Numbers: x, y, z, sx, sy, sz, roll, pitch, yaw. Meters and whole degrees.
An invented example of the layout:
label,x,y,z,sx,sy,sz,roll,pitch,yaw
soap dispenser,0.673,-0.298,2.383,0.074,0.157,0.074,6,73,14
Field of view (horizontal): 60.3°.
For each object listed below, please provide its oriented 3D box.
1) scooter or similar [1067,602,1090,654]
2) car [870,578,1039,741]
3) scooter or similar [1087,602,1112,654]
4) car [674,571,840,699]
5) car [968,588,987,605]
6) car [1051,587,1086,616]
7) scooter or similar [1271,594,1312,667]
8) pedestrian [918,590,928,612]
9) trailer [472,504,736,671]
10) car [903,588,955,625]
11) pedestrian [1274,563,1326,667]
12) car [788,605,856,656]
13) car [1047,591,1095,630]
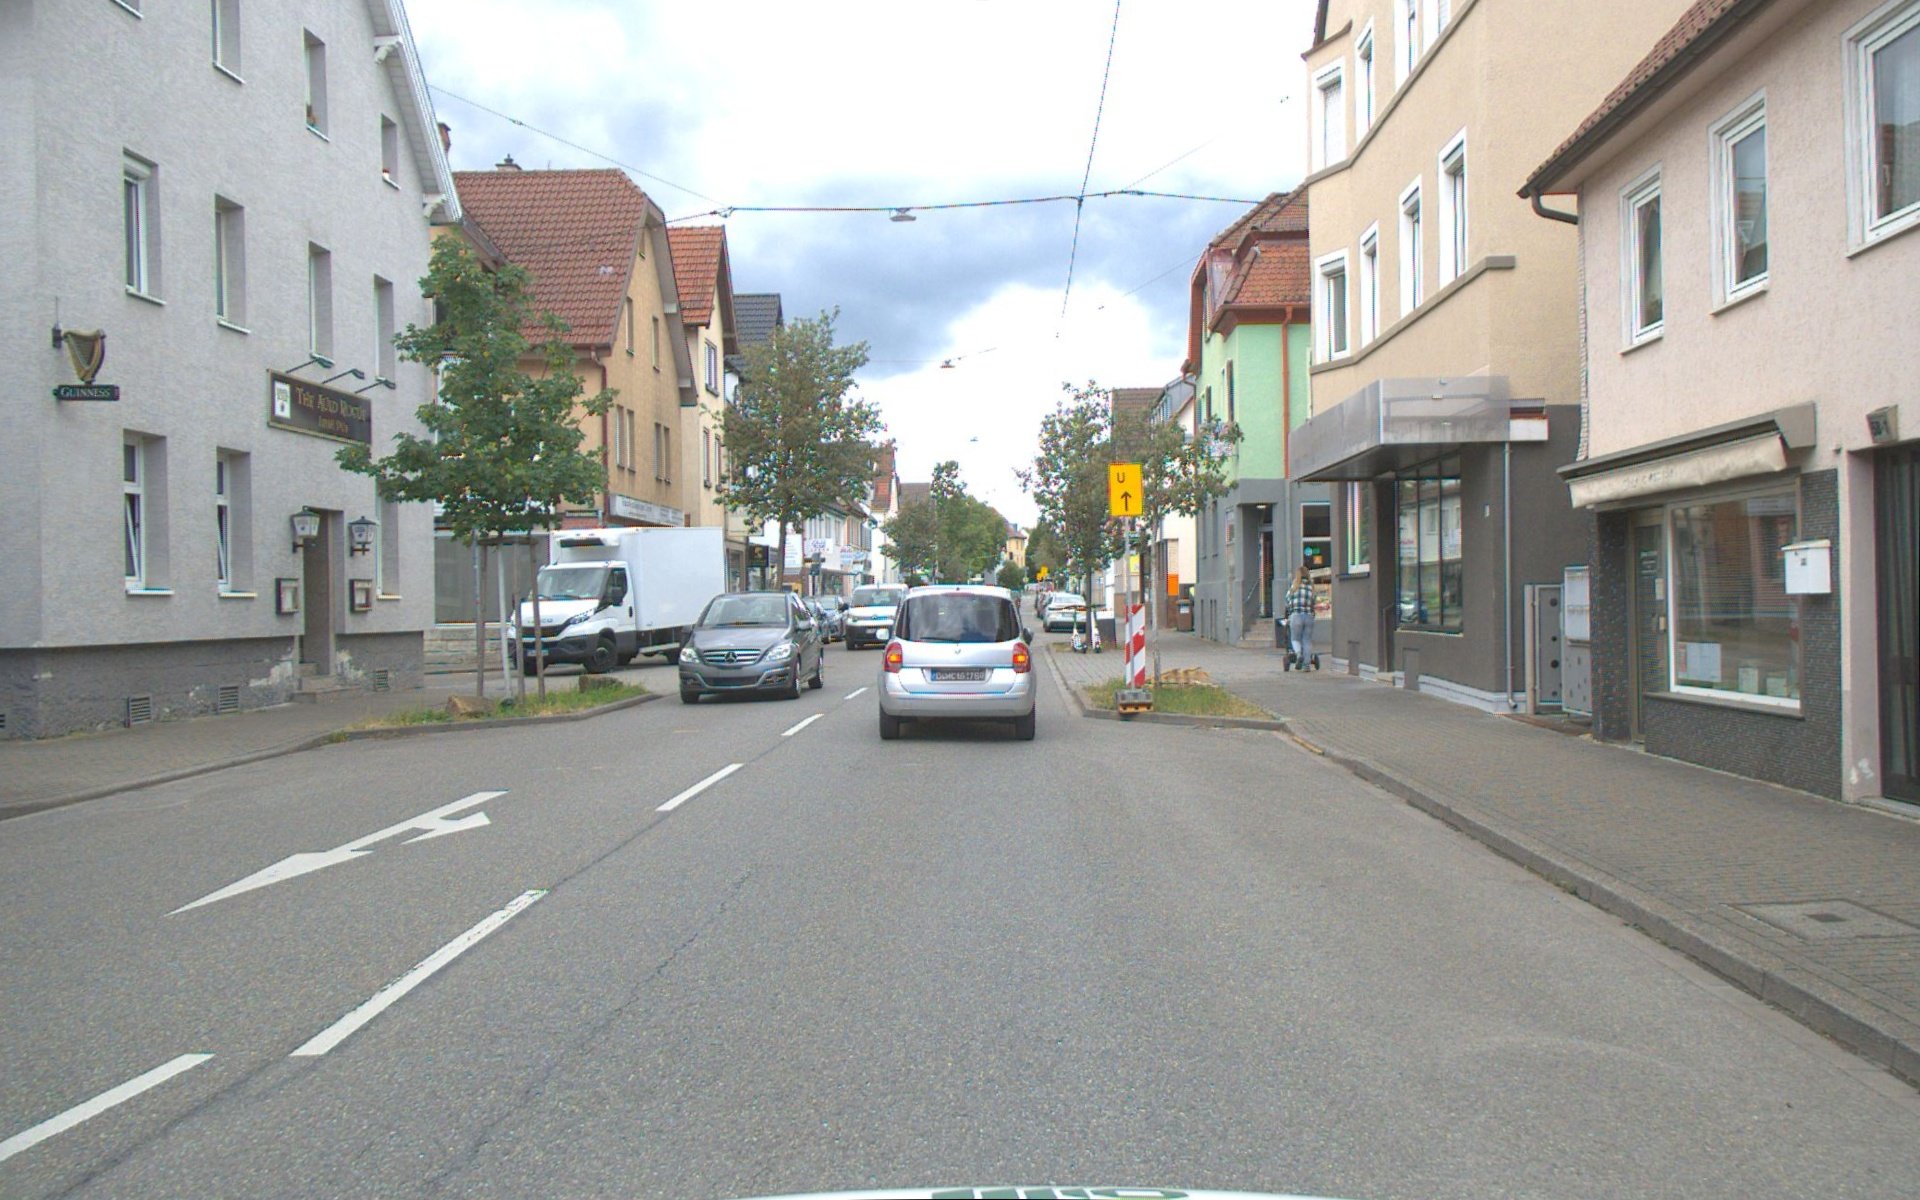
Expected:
label,x,y,z,sx,sy,sz,roll,pitch,yaw
scooter or similar,2.946,0.676,41.240,0.491,1.257,1.943,0,0,2
car,0.037,0.586,18.438,1.647,1.593,3.995,1,0,3
scooter or similar,3.469,0.678,41.230,0.491,1.257,1.943,0,0,2
car,-3.162,0.519,26.617,1.952,1.827,4.278,-2,0,2
car,1.944,-0.394,185.231,1.861,1.768,4.367,-2,0,3
car,5.867,0.085,89.645,1.793,1.524,3.995,1,0,3
scooter or similar,5.823,0.531,29.075,0.577,1.254,0.891,0,0,2
pedestrian,-3.127,0.086,140.272,0.747,1.822,0.890,0,0,2
trailer,-7.542,-0.248,36.183,2.450,3.275,7.139,0,0,17
car,-1.270,0.258,69.433,1.804,1.458,4.545,-2,0,3
pedestrian,5.781,0.249,28.160,0.735,1.750,0.900,0,0,2
car,-4.254,0.923,51.587,1.647,1.449,3.932,-2,0,2
car,4.268,0.391,64.073,1.793,1.471,4.333,1,0,3
